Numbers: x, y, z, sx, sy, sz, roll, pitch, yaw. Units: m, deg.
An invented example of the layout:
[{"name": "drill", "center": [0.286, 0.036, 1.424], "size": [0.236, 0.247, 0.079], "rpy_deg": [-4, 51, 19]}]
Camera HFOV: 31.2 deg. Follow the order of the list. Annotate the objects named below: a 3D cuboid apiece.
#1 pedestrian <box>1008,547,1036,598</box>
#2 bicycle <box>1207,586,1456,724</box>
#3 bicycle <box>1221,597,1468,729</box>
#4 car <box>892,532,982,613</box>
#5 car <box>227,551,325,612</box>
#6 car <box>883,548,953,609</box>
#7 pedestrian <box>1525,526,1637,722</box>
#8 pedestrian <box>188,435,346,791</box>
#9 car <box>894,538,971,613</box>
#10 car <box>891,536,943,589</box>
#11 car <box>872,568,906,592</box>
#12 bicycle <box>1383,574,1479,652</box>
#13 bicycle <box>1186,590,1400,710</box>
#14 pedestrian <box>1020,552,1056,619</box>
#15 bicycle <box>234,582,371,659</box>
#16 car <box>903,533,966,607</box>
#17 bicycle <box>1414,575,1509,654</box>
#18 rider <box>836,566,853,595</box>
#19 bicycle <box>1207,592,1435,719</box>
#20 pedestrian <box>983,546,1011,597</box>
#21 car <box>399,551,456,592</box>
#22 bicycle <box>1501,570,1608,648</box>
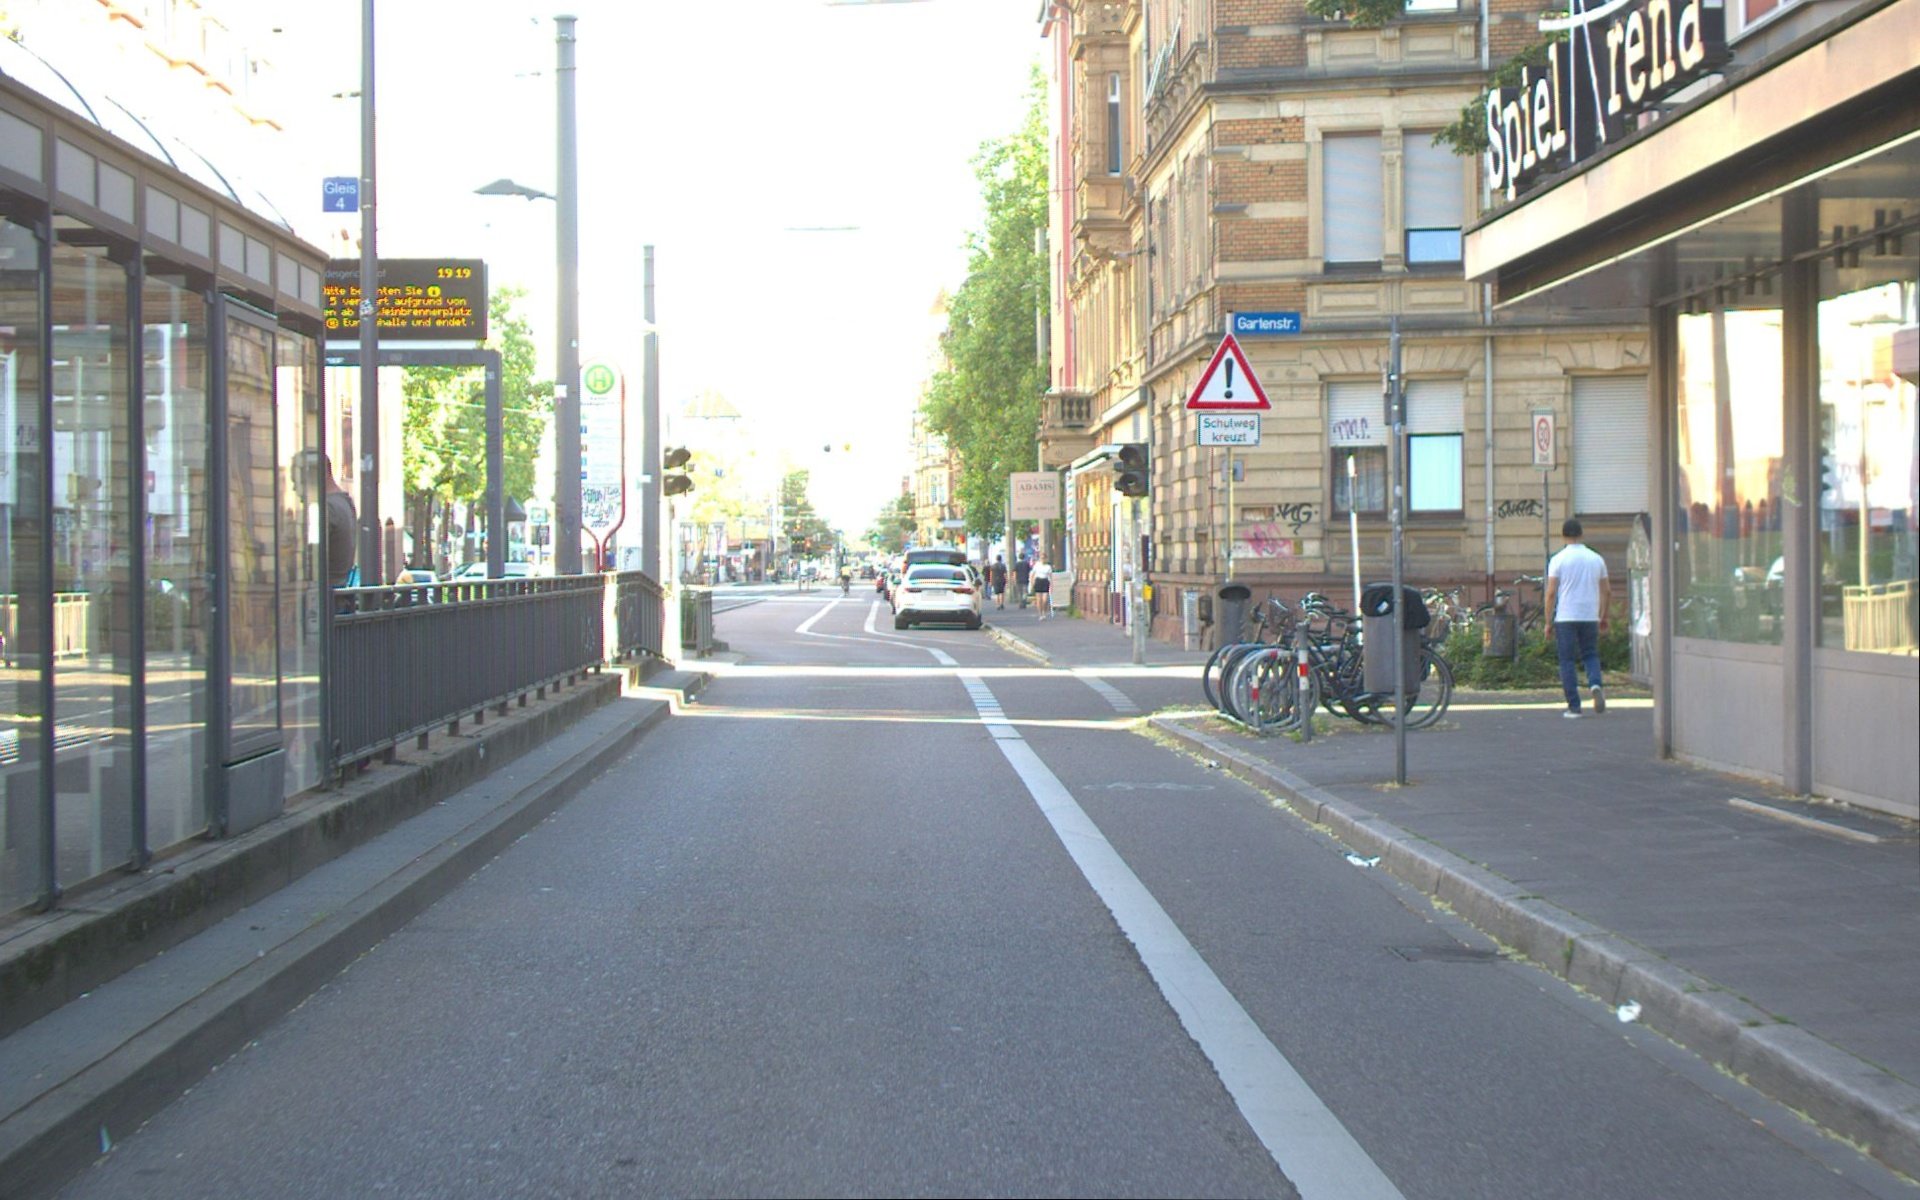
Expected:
[{"name": "pedestrian", "center": [1.961, -0.879, 109.265], "size": [0.776, 1.561, 0.914], "rpy_deg": [-4, 1, 0]}, {"name": "bicycle", "center": [3.098, 0.454, 28.742], "size": [1.970, 1.101, 0.614], "rpy_deg": [-1, 1, -4]}, {"name": "bicycle", "center": [3.134, 0.505, 28.086], "size": [1.913, 1.044, 0.681], "rpy_deg": [0, 1, -4]}, {"name": "car", "center": [-0.532, -0.625, 78.501], "size": [1.966, 1.765, 4.875], "rpy_deg": [1, 0, -1]}, {"name": "car", "center": [-20.226, -0.519, 101.893], "size": [2.090, 1.707, 4.819], "rpy_deg": [1, 0, -2]}, {"name": "car", "center": [-1.311, -0.672, 105.840], "size": [1.949, 1.782, 5.182], "rpy_deg": [1, 0, -3]}, {"name": "pedestrian", "center": [5.407, 0.196, 29.979], "size": [0.783, 1.660, 1.033], "rpy_deg": [0, 2, -1]}, {"name": "pedestrian", "center": [-3.396, 0.056, 16.894], "size": [0.622, 1.706, 0.850], "rpy_deg": [0, 1, -2]}, {"name": "car", "center": [-0.713, -0.652, 90.411], "size": [1.955, 1.862, 4.989], "rpy_deg": [1, 1, 0]}, {"name": "car", "center": [-1.687, -1.489, 136.256], "size": [1.971, 2.007, 4.558], "rpy_deg": [-2, 1, 0]}, {"name": "car", "center": [-4.422, -1.275, 214.584], "size": [2.065, 1.384, 4.225], "rpy_deg": [2, 0, -2]}, {"name": "bicycle", "center": [6.360, 0.169, 46.501], "size": [0.451, 1.021, 1.908], "rpy_deg": [0, 1, -20]}, {"name": "bicycle", "center": [3.004, 0.446, 31.145], "size": [1.833, 1.050, 0.710], "rpy_deg": [0, 1, -4]}, {"name": "pedestrian", "center": [1.898, -0.363, 83.413], "size": [0.776, 1.561, 0.913], "rpy_deg": [-4, 1, 2]}, {"name": "bicycle", "center": [-9.838, 0.299, 51.474], "size": [1.893, 1.074, 0.584], "rpy_deg": [2, 0, 2]}, {"name": "car", "center": [-0.738, -0.869, 101.235], "size": [1.705, 2.112, 3.706], "rpy_deg": [0, 0, 1]}, {"name": "bicycle", "center": [6.771, 0.185, 46.507], "size": [0.417, 1.021, 1.908], "rpy_deg": [0, 1, -20]}, {"name": "rider", "center": [-6.114, -1.030, 181.958], "size": [0.883, 1.476, 0.713], "rpy_deg": [1, 0, 0]}, {"name": "bicycle", "center": [3.077, 0.467, 29.373], "size": [1.833, 1.050, 0.718], "rpy_deg": [0, 1, -4]}, {"name": "pedestrian", "center": [1.173, -0.907, 109.174], "size": [0.776, 1.561, 0.914], "rpy_deg": [-4, 1, 0]}, {"name": "car", "center": [-21.044, -1.137, 135.950], "size": [1.869, 1.594, 4.255], "rpy_deg": [0, 1, -4]}, {"name": "bicycle", "center": [8.051, 0.112, 46.612], "size": [0.495, 1.021, 1.908], "rpy_deg": [0, 1, -22]}]
